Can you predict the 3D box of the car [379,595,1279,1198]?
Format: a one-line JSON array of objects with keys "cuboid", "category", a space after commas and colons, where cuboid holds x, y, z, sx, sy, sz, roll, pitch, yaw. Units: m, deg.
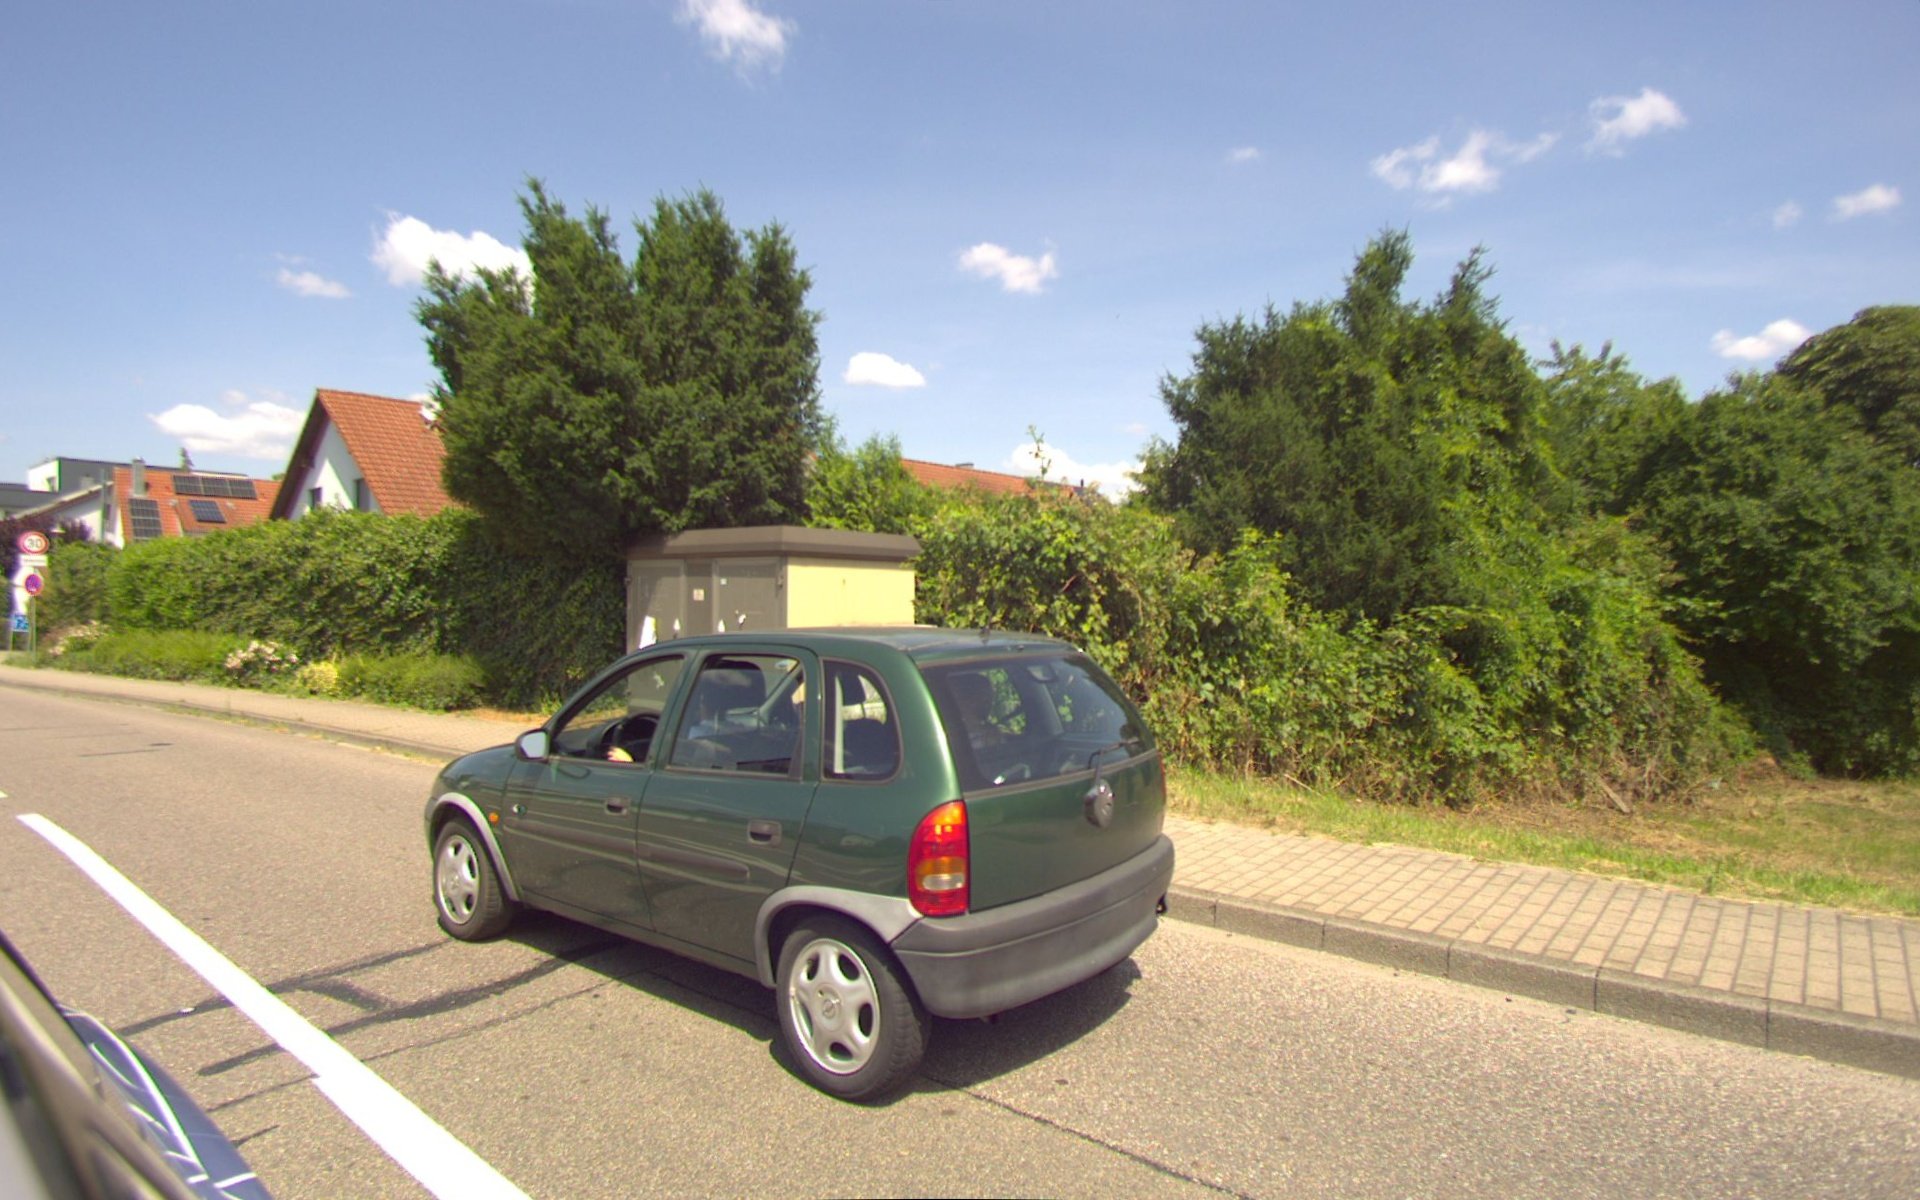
[{"cuboid": [-0.843, 0.744, 4.385, 3.870, 1.444, 1.761, -1, -1, 41], "category": "car"}]
